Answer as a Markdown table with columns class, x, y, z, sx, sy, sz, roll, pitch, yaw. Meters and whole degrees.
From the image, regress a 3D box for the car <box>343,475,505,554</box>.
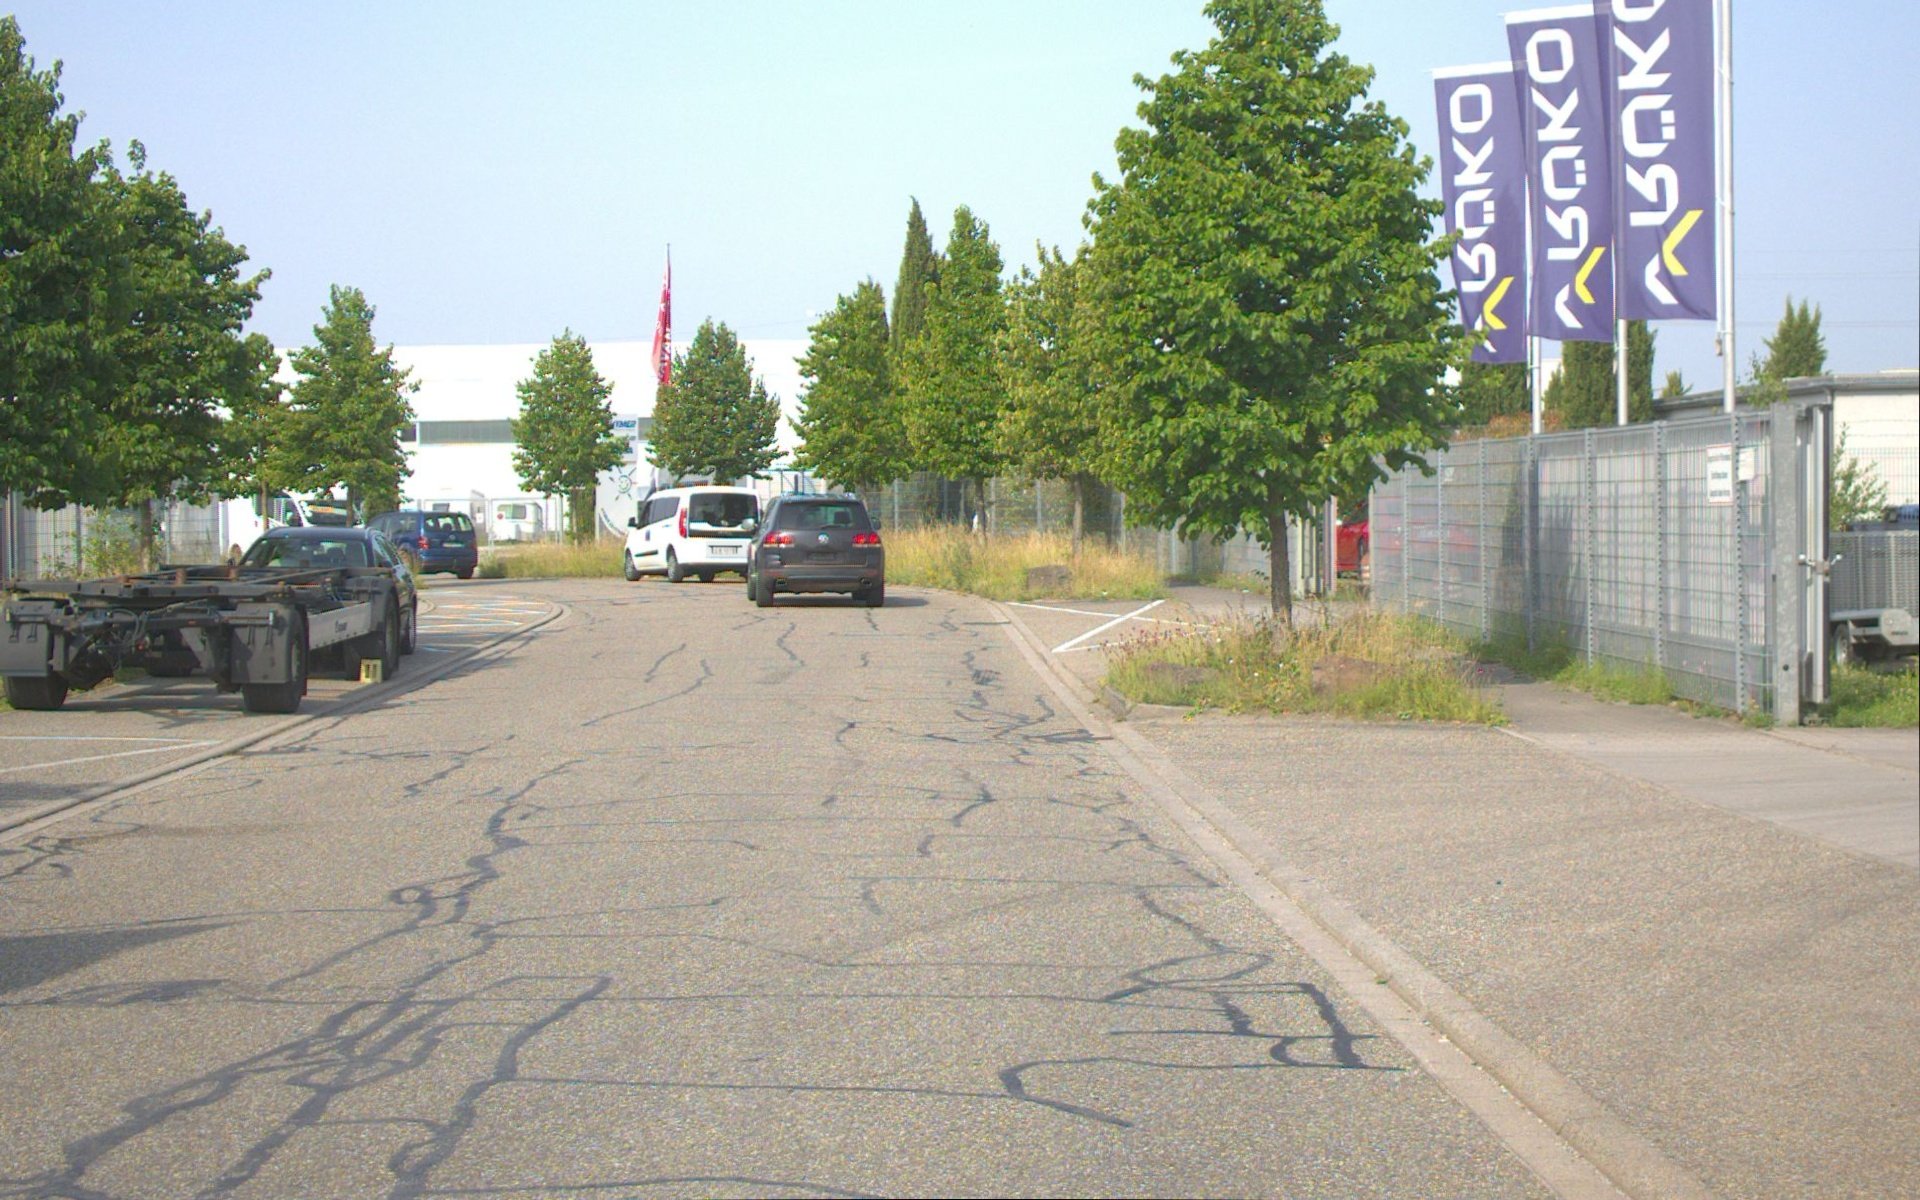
| class | x | y | z | sx | sy | sz | roll | pitch | yaw |
| --- | --- | --- | --- | --- | --- | --- | --- | --- | --- |
| car | -12.760 | -2.048 | 81.653 | 1.994 | 1.798 | 3.999 | -1 | 2 | -41 |

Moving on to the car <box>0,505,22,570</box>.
| class | x | y | z | sx | sy | sz | roll | pitch | yaw |
| --- | --- | --- | --- | --- | --- | --- | --- | --- | --- |
| car | -27.917 | -1.726 | 95.683 | 1.994 | 1.765 | 3.999 | -2 | 2 | -39 |

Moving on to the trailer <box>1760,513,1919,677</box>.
| class | x | y | z | sx | sy | sz | roll | pitch | yaw |
| --- | --- | --- | --- | --- | --- | --- | --- | --- | --- |
| trailer | 8.411 | -0.101 | 29.420 | 1.944 | 1.239 | 4.295 | -1 | 2 | -3 |

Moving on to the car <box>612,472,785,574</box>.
| class | x | y | z | sx | sy | sz | roll | pitch | yaw |
| --- | --- | --- | --- | --- | --- | --- | --- | --- | --- |
| car | -5.155 | -1.518 | 67.259 | 1.993 | 1.893 | 4.468 | -2 | 2 | -23 |

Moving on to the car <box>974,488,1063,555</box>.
| class | x | y | z | sx | sy | sz | roll | pitch | yaw |
| --- | --- | --- | --- | --- | --- | --- | --- | --- | --- |
| car | 1.458 | -2.008 | 87.317 | 1.722 | 1.637 | 4.001 | 1 | 2 | -7 |

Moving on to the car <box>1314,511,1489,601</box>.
| class | x | y | z | sx | sy | sz | roll | pitch | yaw |
| --- | --- | --- | --- | --- | --- | --- | --- | --- | --- |
| car | 7.206 | -0.750 | 56.559 | 1.880 | 1.353 | 4.775 | -1 | 2 | -5 |

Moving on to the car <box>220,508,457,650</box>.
| class | x | y | z | sx | sy | sz | roll | pitch | yaw |
| --- | --- | --- | --- | --- | --- | --- | --- | --- | --- |
| car | -7.122 | -0.290 | 39.830 | 1.993 | 1.461 | 4.433 | 1 | 2 | -1 |

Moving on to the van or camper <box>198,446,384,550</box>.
| class | x | y | z | sx | sy | sz | roll | pitch | yaw |
| --- | --- | --- | --- | --- | --- | --- | --- | --- | --- |
| van or camper | -19.622 | -2.972 | 100.561 | 2.331 | 2.933 | 6.969 | -2 | 2 | -39 |

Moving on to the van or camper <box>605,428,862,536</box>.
| class | x | y | z | sx | sy | sz | roll | pitch | yaw |
| --- | --- | --- | --- | --- | --- | --- | --- | --- | --- |
| van or camper | -6.607 | -3.422 | 99.948 | 7.257 | 3.021 | 2.586 | -1 | 1 | -7 |

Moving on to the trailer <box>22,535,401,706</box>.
| class | x | y | z | sx | sy | sz | roll | pitch | yaw |
| --- | --- | --- | --- | --- | --- | --- | --- | --- | --- |
| trailer | -6.765 | 0.103 | 31.974 | 2.130 | 1.228 | 7.158 | 1 | 2 | -1 |

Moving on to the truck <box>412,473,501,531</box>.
| class | x | y | z | sx | sy | sz | roll | pitch | yaw |
| --- | --- | --- | --- | --- | --- | --- | --- | --- | --- |
| truck | -20.171 | -3.971 | 138.150 | 2.450 | 2.257 | 8.003 | -1 | 2 | -1 |

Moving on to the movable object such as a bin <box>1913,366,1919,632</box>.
| class | x | y | z | sx | sy | sz | roll | pitch | yaw |
| --- | --- | --- | --- | --- | --- | --- | --- | --- | --- |
| movable object such as a bin | 10.880 | -0.977 | 33.097 | 1.886 | 2.742 | 5.160 | -1 | 2 | -1 |

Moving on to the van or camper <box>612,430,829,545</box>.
| class | x | y | z | sx | sy | sz | roll | pitch | yaw |
| --- | --- | --- | --- | --- | --- | --- | --- | --- | --- |
| van or camper | -6.250 | -2.855 | 88.487 | 2.349 | 2.838 | 7.342 | -1 | 2 | -32 |

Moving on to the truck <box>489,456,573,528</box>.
| class | x | y | z | sx | sy | sz | roll | pitch | yaw |
| --- | --- | --- | --- | --- | --- | --- | --- | --- | --- |
| truck | -17.188 | -4.350 | 138.136 | 2.450 | 2.816 | 8.003 | -1 | 2 | -1 |

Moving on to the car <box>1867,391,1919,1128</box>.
| class | x | y | z | sx | sy | sz | roll | pitch | yaw |
| --- | --- | --- | --- | --- | --- | --- | --- | --- | --- |
| car | 3.208 | 0.394 | 6.274 | 1.825 | 1.714 | 4.249 | -1 | 1 | -2 |

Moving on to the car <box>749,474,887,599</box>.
| class | x | y | z | sx | sy | sz | roll | pitch | yaw |
| --- | --- | --- | --- | --- | --- | --- | --- | --- | --- |
| car | -2.120 | -1.001 | 52.276 | 1.993 | 1.798 | 4.001 | 1 | 2 | -1 |
